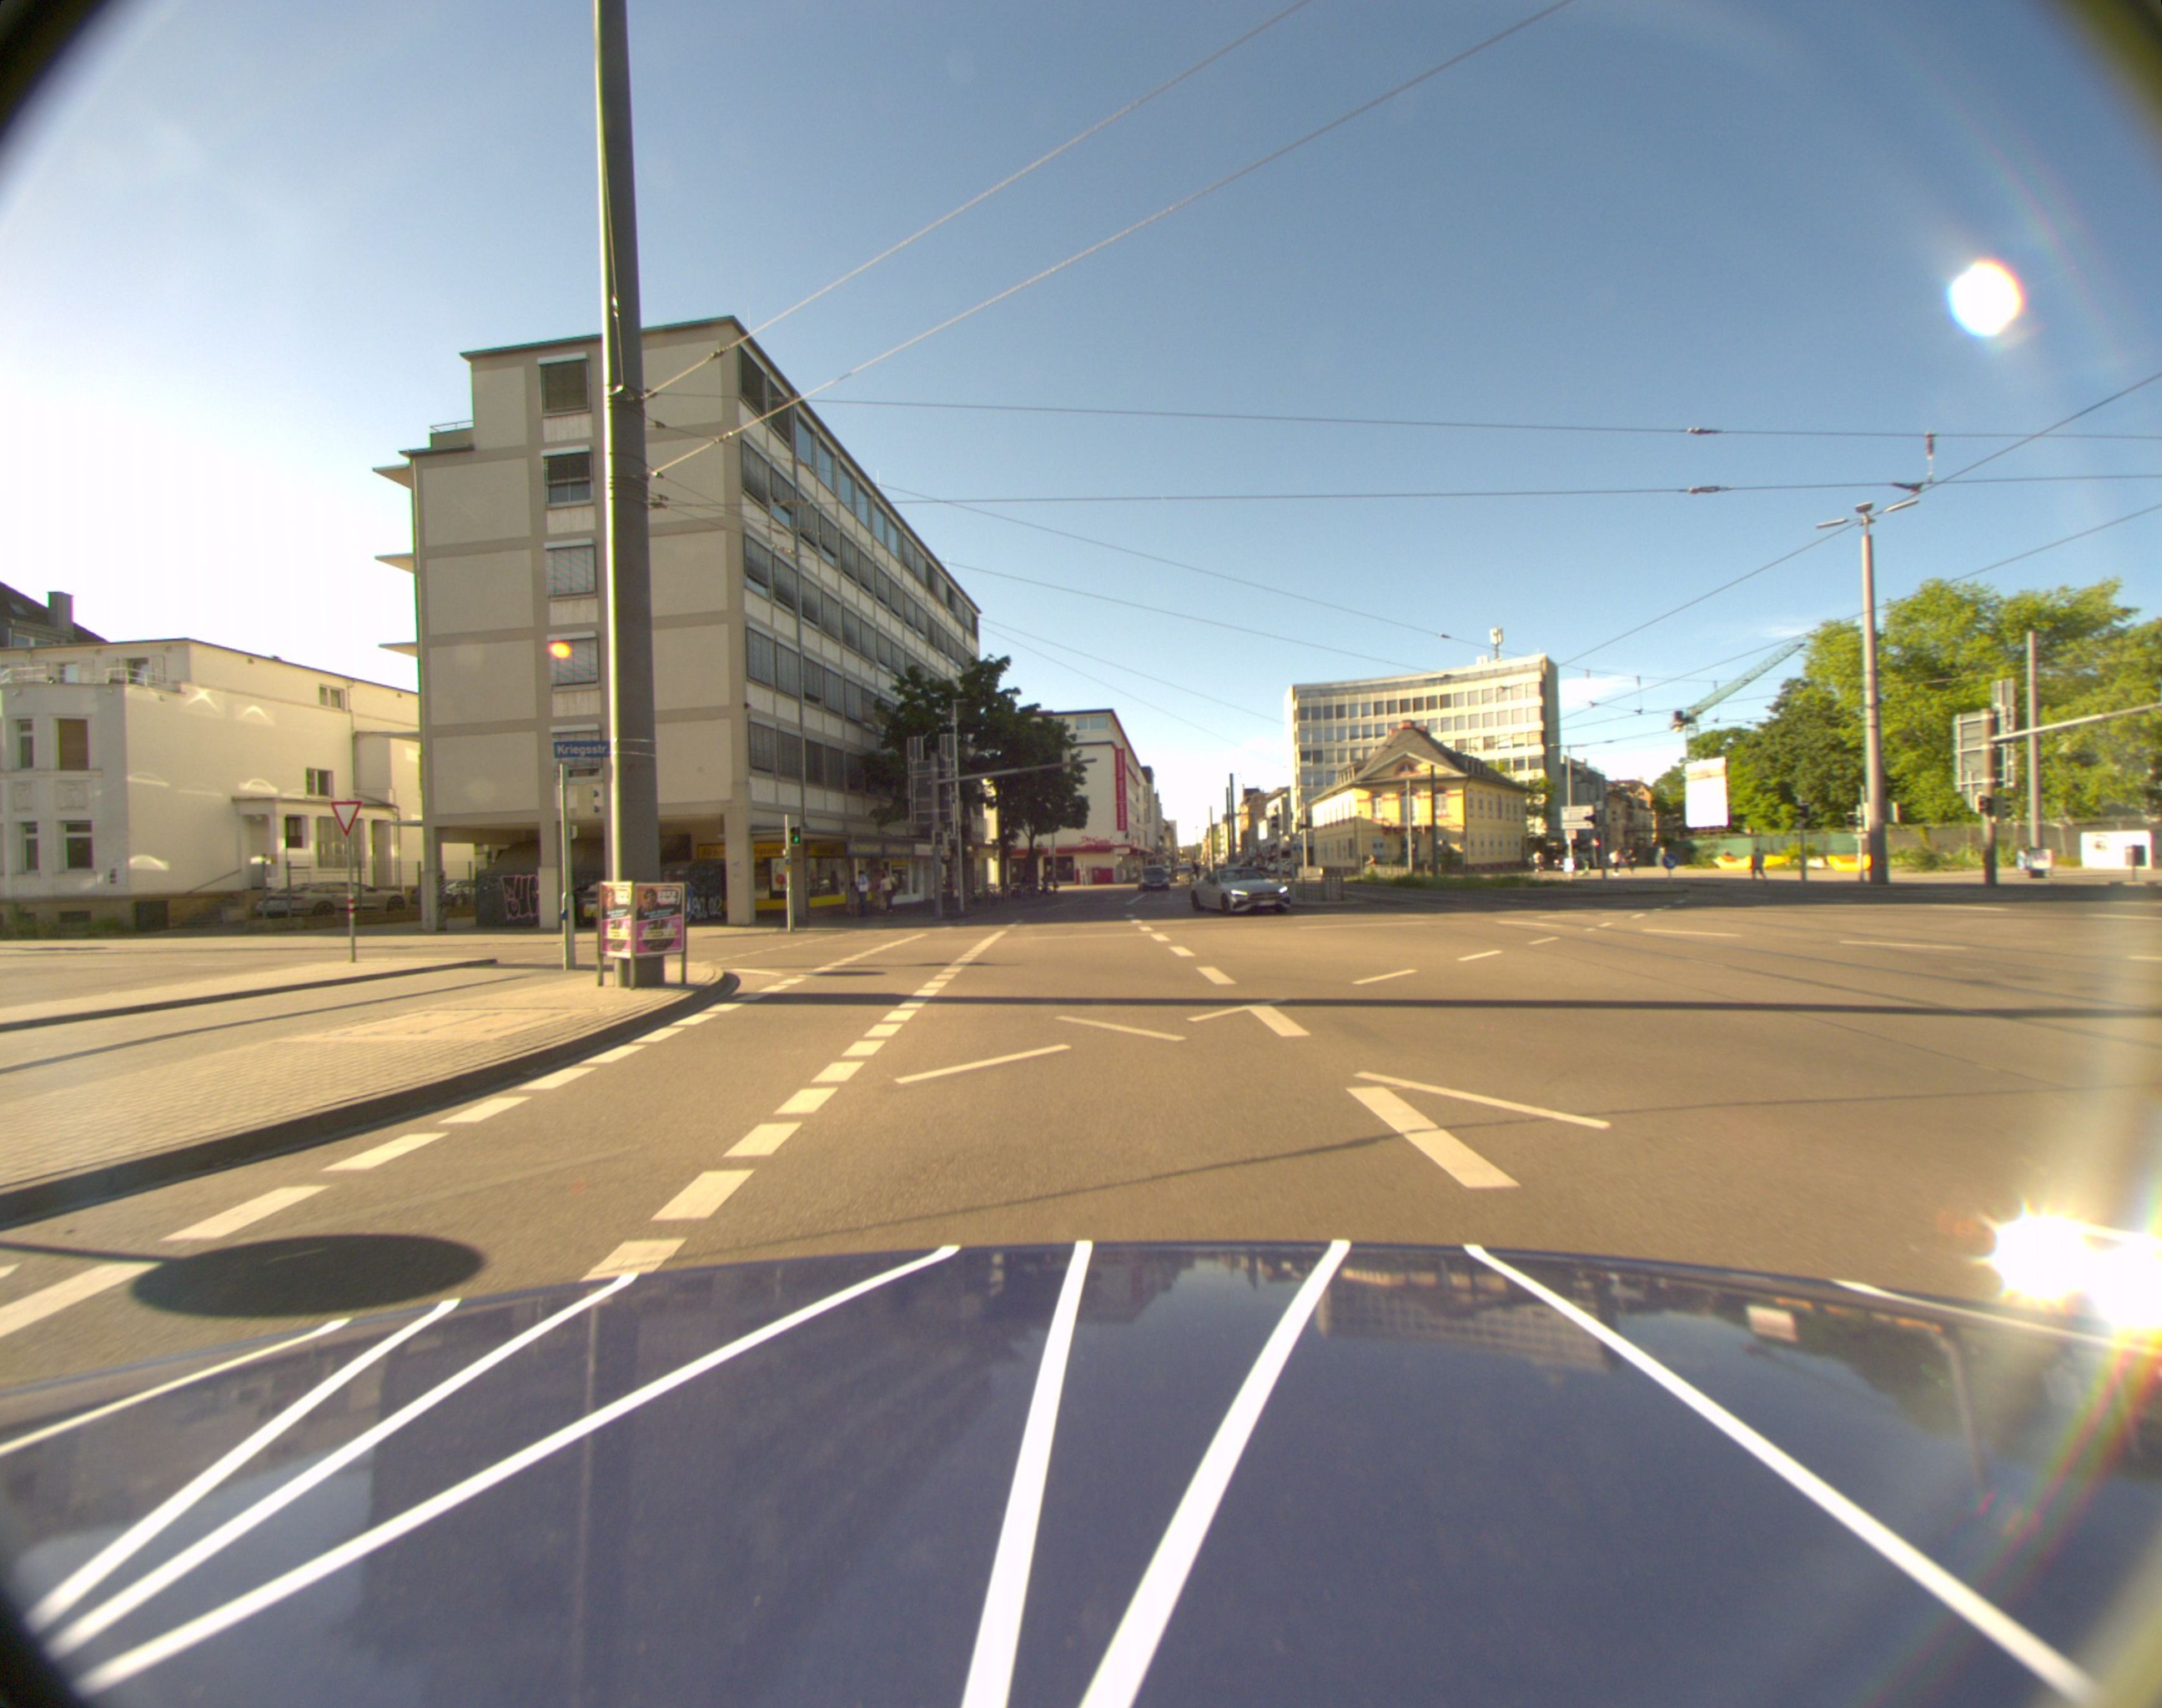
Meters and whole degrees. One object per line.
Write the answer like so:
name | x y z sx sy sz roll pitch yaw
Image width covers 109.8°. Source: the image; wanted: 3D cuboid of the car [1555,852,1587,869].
car | 43.626 0.600 67.622 1.646 1.339 3.767 -3 0 44

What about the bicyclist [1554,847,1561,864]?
bicyclist | 48.063 0.133 76.652 0.521 1.663 0.771 -2 0 27

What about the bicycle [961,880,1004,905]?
bicycle | -4.593 1.789 35.474 1.893 1.150 0.481 -1 1 11

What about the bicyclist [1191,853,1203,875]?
bicyclist | 8.215 0.726 53.717 0.683 1.514 0.635 -3 0 0

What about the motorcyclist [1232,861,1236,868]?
motorcyclist | 34.250 2.295 169.590 0.654 1.549 0.884 -3 0 -1

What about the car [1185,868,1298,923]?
car | 4.865 1.209 23.781 1.870 1.430 4.771 -2 0 -9

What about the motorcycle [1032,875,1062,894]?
motorcycle | -2.174 1.959 48.455 1.790 1.123 0.504 -3 0 11

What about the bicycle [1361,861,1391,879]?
bicycle | 22.262 1.237 57.374 2.023 1.283 0.576 -3 0 15

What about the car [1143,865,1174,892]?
car | 5.015 1.558 49.675 1.737 1.653 3.962 -1 0 2

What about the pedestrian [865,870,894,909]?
pedestrian | -8.544 1.506 32.278 0.844 1.593 0.880 -3 0 10

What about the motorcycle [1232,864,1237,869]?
motorcycle | 34.302 2.808 169.674 0.601 0.921 2.156 -3 0 0

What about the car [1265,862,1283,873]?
car | 29.711 2.105 117.241 1.930 1.443 4.295 -4 0 5

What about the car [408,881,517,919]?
car | -29.999 2.198 37.003 1.785 1.551 4.026 -2 0 4

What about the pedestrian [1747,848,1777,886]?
pedestrian | 31.137 0.610 34.747 0.626 1.678 0.706 -3 -2 -2

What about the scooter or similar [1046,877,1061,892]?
scooter or similar | -1.803 2.031 50.501 0.965 1.021 0.160 -2 0 13

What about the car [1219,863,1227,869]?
car | 36.336 3.088 194.229 1.780 1.500 3.863 -1 -1 8

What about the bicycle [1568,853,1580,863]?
bicycle | 52.472 0.393 80.915 1.888 1.007 0.530 -2 0 -42

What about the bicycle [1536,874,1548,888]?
bicycle | 36.705 2.118 60.478 0.650 1.007 1.888 -3 0 27

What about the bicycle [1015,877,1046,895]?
bicycle | -3.061 1.951 46.348 1.855 1.050 0.399 -1 0 -1

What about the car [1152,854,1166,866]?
car | 11.218 0.887 109.584 1.782 1.653 4.166 -1 0 9

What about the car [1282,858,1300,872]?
car | 27.200 1.406 98.621 1.780 1.611 4.179 -4 0 11

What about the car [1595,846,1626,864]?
car | 54.821 0.070 78.676 3.763 1.660 1.798 -2 0 -42

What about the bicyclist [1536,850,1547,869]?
bicyclist | 36.646 0.441 60.485 0.664 1.445 0.732 -3 0 27

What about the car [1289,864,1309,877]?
car | 26.583 1.995 92.905 1.780 1.430 3.964 -4 0 9

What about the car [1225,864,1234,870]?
car | 34.280 2.987 175.658 1.780 1.500 4.672 -1 -1 6

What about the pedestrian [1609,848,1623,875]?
pedestrian | 37.346 0.509 53.076 0.594 1.806 0.706 -3 0 21

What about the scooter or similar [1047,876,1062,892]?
scooter or similar | -1.770 2.004 50.699 0.958 1.033 0.160 -2 0 13

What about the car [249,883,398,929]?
car | -30.441 2.043 30.726 1.800 1.549 4.027 -2 0 4

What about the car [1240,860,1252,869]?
car | 29.667 1.896 136.645 1.688 1.551 4.125 -3 0 8

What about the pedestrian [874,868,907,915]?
pedestrian | -7.173 1.406 28.699 0.844 1.697 0.880 -3 0 10

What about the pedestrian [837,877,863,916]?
pedestrian | -8.766 1.598 28.871 0.646 1.414 0.621 -3 0 11

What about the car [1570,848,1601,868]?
car | 47.453 0.370 71.437 1.889 1.660 3.871 -3 0 41

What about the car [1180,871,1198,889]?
car | 10.961 2.569 76.840 1.782 1.653 3.964 -1 0 9

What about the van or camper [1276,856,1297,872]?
van or camper | 28.175 1.324 104.276 1.958 1.961 4.800 -4 0 8

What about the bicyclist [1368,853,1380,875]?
bicyclist | 22.118 0.783 57.403 0.805 1.639 0.591 -1 2 16

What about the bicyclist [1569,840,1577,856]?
bicyclist | 52.324 -0.662 80.826 0.772 1.663 0.521 -3 0 -42

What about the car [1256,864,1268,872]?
car | 33.482 2.623 140.658 1.785 1.408 3.599 -3 0 7

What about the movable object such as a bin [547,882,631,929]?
movable object such as a bin | -16.964 1.764 26.233 1.913 1.461 1.453 -2 1 11

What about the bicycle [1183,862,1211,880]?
bicycle | 8.190 1.205 53.722 1.825 1.204 0.642 -3 0 -1

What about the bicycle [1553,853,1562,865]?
bicycle | 48.049 0.505 76.591 0.530 1.207 1.888 -3 0 27

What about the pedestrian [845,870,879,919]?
pedestrian | -7.994 1.469 27.754 0.879 1.711 0.846 -3 0 6

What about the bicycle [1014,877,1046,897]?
bicycle | -2.999 1.926 44.455 1.769 1.050 0.458 -3 0 15

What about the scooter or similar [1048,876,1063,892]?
scooter or similar | -1.726 1.996 50.893 0.965 1.037 0.160 -2 0 13

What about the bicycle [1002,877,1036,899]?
bicycle | -3.458 1.906 42.464 1.813 1.145 0.435 -2 0 6

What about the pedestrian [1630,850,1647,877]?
pedestrian | 38.569 0.626 52.574 0.705 1.840 0.741 -3 0 21
